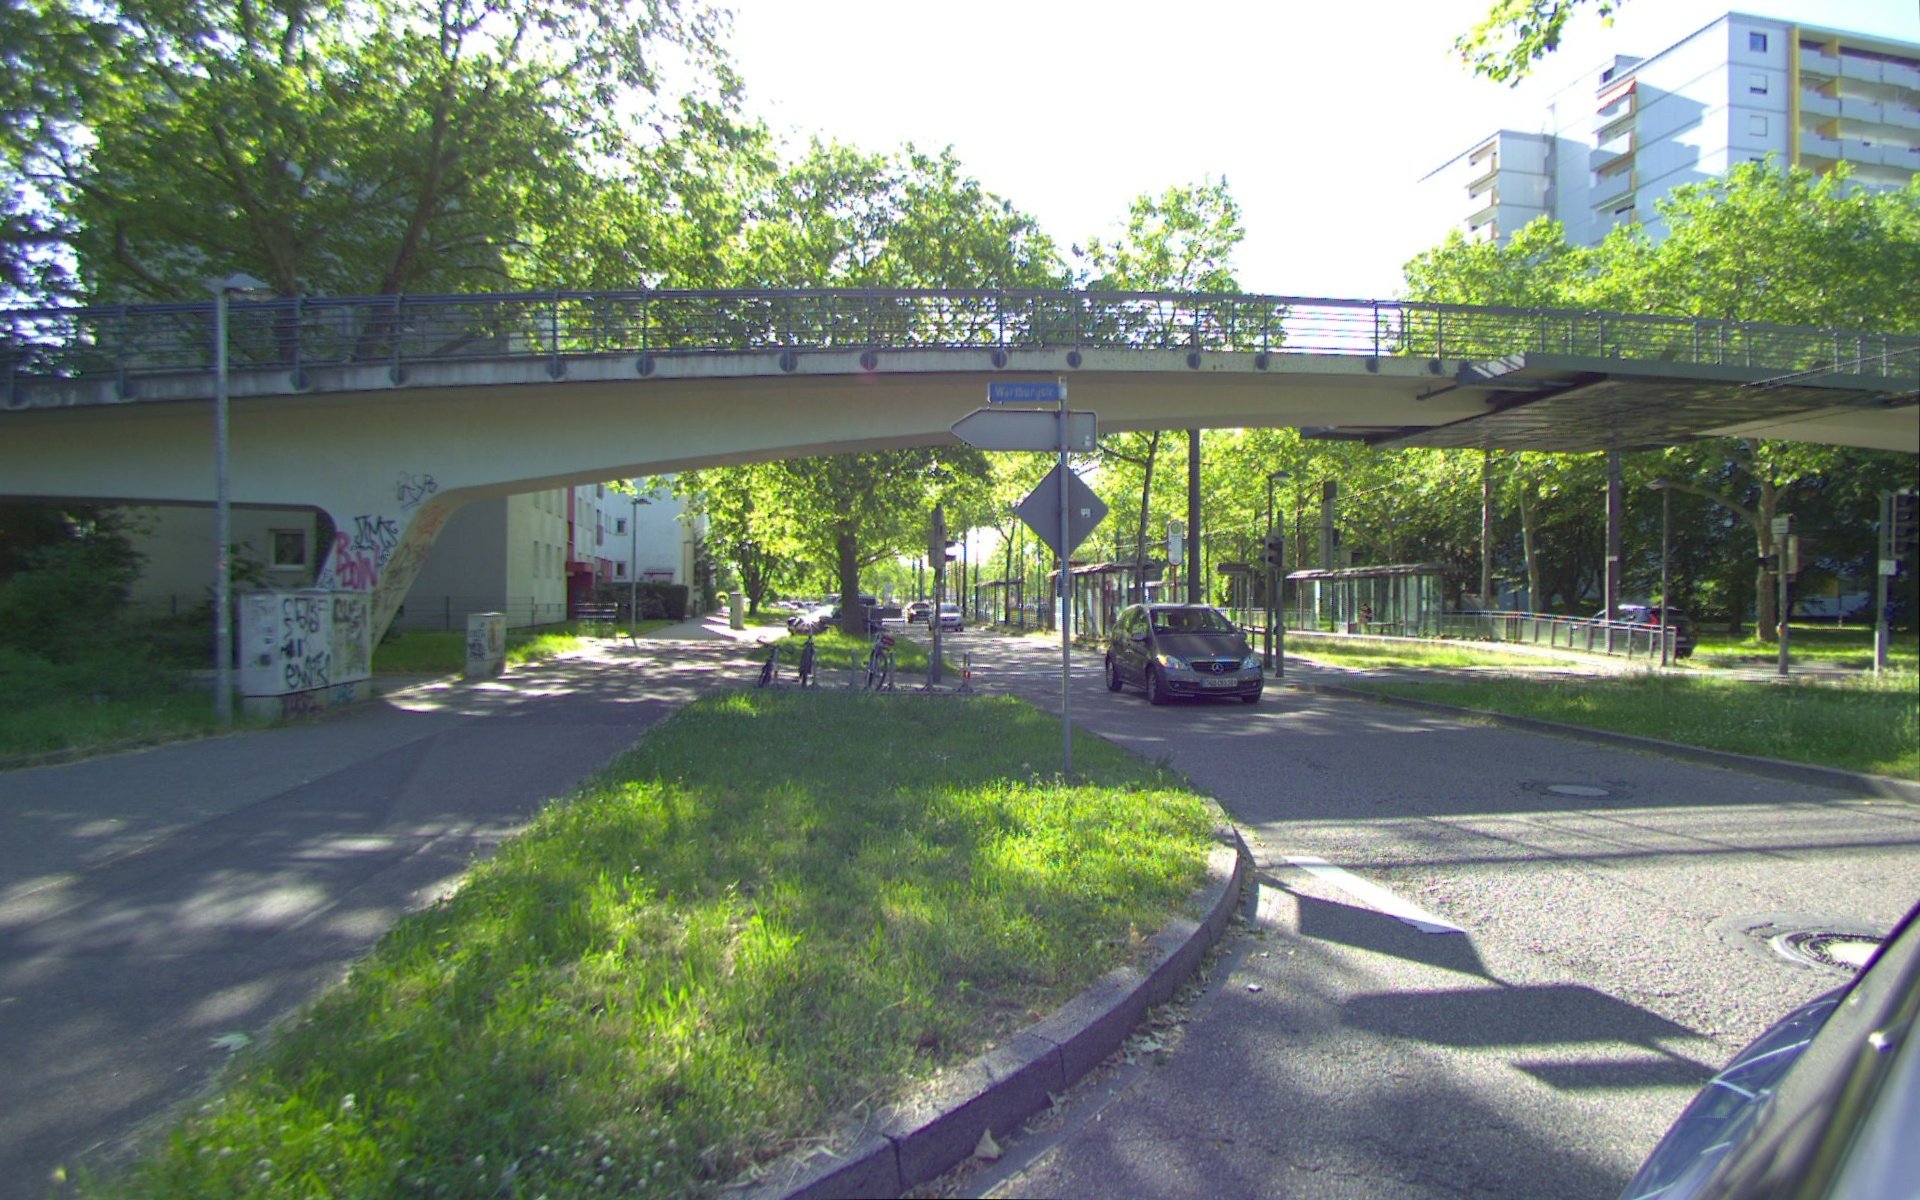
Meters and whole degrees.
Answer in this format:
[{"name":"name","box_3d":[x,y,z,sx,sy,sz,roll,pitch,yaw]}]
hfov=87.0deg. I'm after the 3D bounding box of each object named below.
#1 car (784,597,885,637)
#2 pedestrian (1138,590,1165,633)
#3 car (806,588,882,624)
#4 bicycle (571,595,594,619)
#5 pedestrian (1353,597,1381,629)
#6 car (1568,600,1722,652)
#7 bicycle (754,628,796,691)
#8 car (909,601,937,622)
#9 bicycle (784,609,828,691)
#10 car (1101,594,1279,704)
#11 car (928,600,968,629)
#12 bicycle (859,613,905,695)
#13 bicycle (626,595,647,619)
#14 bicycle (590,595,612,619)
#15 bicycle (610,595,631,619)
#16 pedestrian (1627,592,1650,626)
[{"name":"car","box_3d":[-5.089,0.704,41.360,1.792,1.480,3.942,2,-1,39]},{"name":"pedestrian","box_3d":[6.580,0.394,34.869,0.712,1.435,0.683,-1,0,-7]},{"name":"car","box_3d":[-7.287,0.406,63.810,2.011,2.078,4.517,2,-1,44]},{"name":"bicycle","box_3d":[-17.509,0.316,46.986,0.580,1.122,1.802,0,0,-7]},{"name":"pedestrian","box_3d":[16.119,0.499,40.094,0.764,1.253,0.723,0,0,-7]},{"name":"car","box_3d":[22.260,0.796,33.118,1.763,1.586,4.293,0,0,-7]},{"name":"bicycle","box_3d":[-2.802,0.885,15.396,0.496,0.863,1.475,3,-1,-7]},{"name":"car","box_3d":[-2.882,0.907,79.004,1.763,1.529,4.005,-1,0,-8]},{"name":"bicycle","box_3d":[-2.405,0.753,15.950,0.580,1.198,1.802,3,-1,-7]},{"name":"car","box_3d":[3.737,0.734,17.136,1.764,1.610,3.767,-1,0,-6]},{"name":"car","box_3d":[-0.718,0.792,56.918,1.763,1.558,4.005,1,-1,-8]},{"name":"bicycle","box_3d":[-1.261,0.821,16.123,0.580,1.198,1.802,3,-1,-7]},{"name":"bicycle","box_3d":[-15.093,0.327,47.228,0.580,1.122,1.802,0,0,-7]},{"name":"bicycle","box_3d":[-16.684,0.326,47.077,0.580,1.122,1.802,0,0,-7]},{"name":"bicycle","box_3d":[-15.814,0.317,47.162,0.580,1.122,1.802,0,0,-7]},{"name":"pedestrian","box_3d":[33.065,0.435,49.335,0.637,1.682,0.651,0,-1,-5]}]
